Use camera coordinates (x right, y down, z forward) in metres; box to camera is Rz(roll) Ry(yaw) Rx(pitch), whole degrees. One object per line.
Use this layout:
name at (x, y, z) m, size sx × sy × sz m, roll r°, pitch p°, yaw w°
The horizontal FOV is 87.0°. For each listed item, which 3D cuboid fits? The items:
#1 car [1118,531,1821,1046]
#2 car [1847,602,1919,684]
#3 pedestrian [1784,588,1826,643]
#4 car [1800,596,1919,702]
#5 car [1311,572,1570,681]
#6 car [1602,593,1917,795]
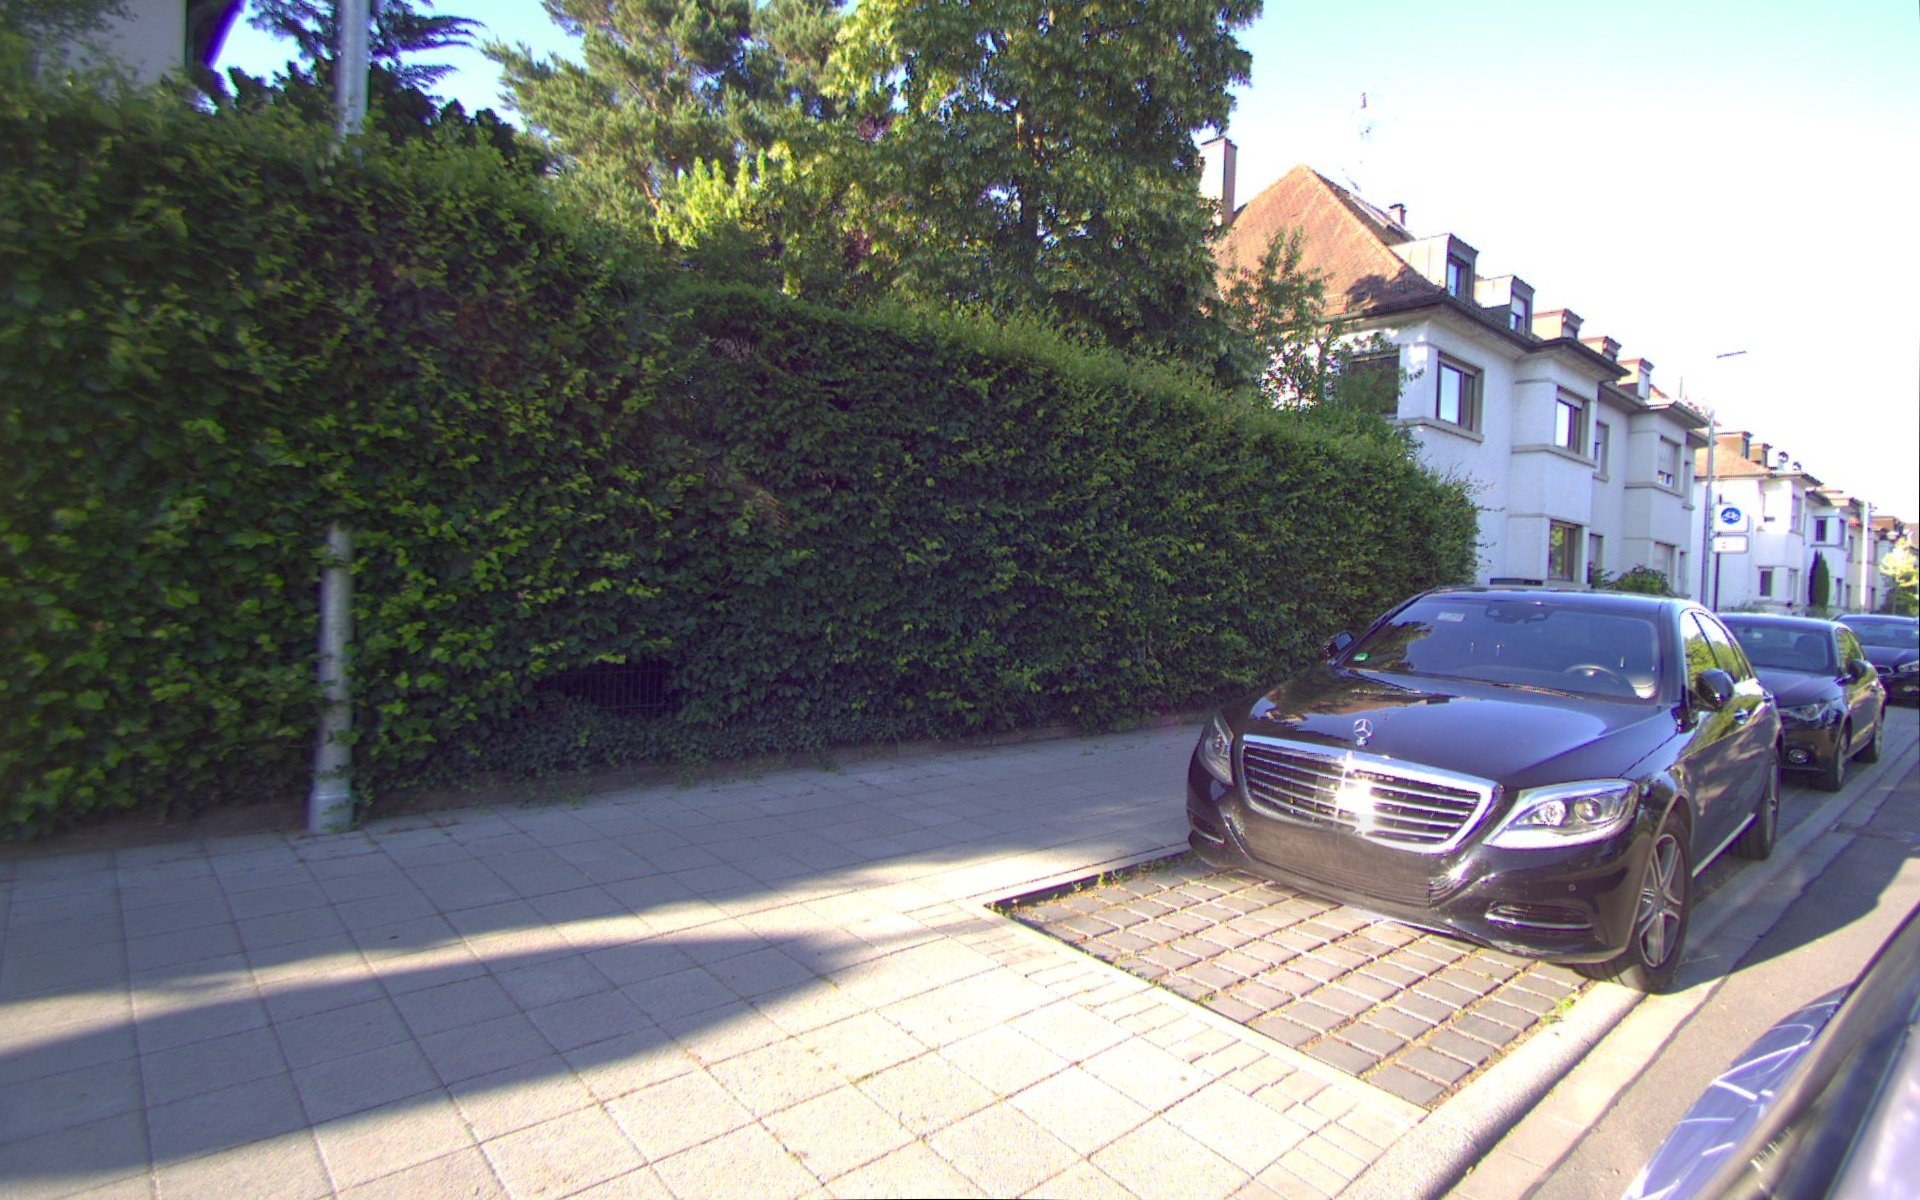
car at (3.087, 0.554, 5.462) m, size 4.792 × 1.561 × 1.861 m, roll 1°, pitch 3°, yaw -44°
car at (19.838, 0.876, 20.969) m, size 3.916 × 1.489 × 1.721 m, roll 1°, pitch 4°, yaw -43°
pedestrian at (32.200, 0.570, 38.578) m, size 1.081 × 2.038 × 0.856 m, roll 2°, pitch 1°, yaw 33°
car at (15.989, 0.784, 17.412) m, size 4.183 × 1.492 × 1.750 m, roll 1°, pitch 5°, yaw -43°
car at (8.265, 0.384, 17.597) m, size 3.637 × 1.514 × 1.752 m, roll 6°, pitch 3°, yaw 45°
car at (7.730, 0.736, 9.657) m, size 3.868 × 1.445 × 1.644 m, roll 1°, pitch 3°, yaw -42°
